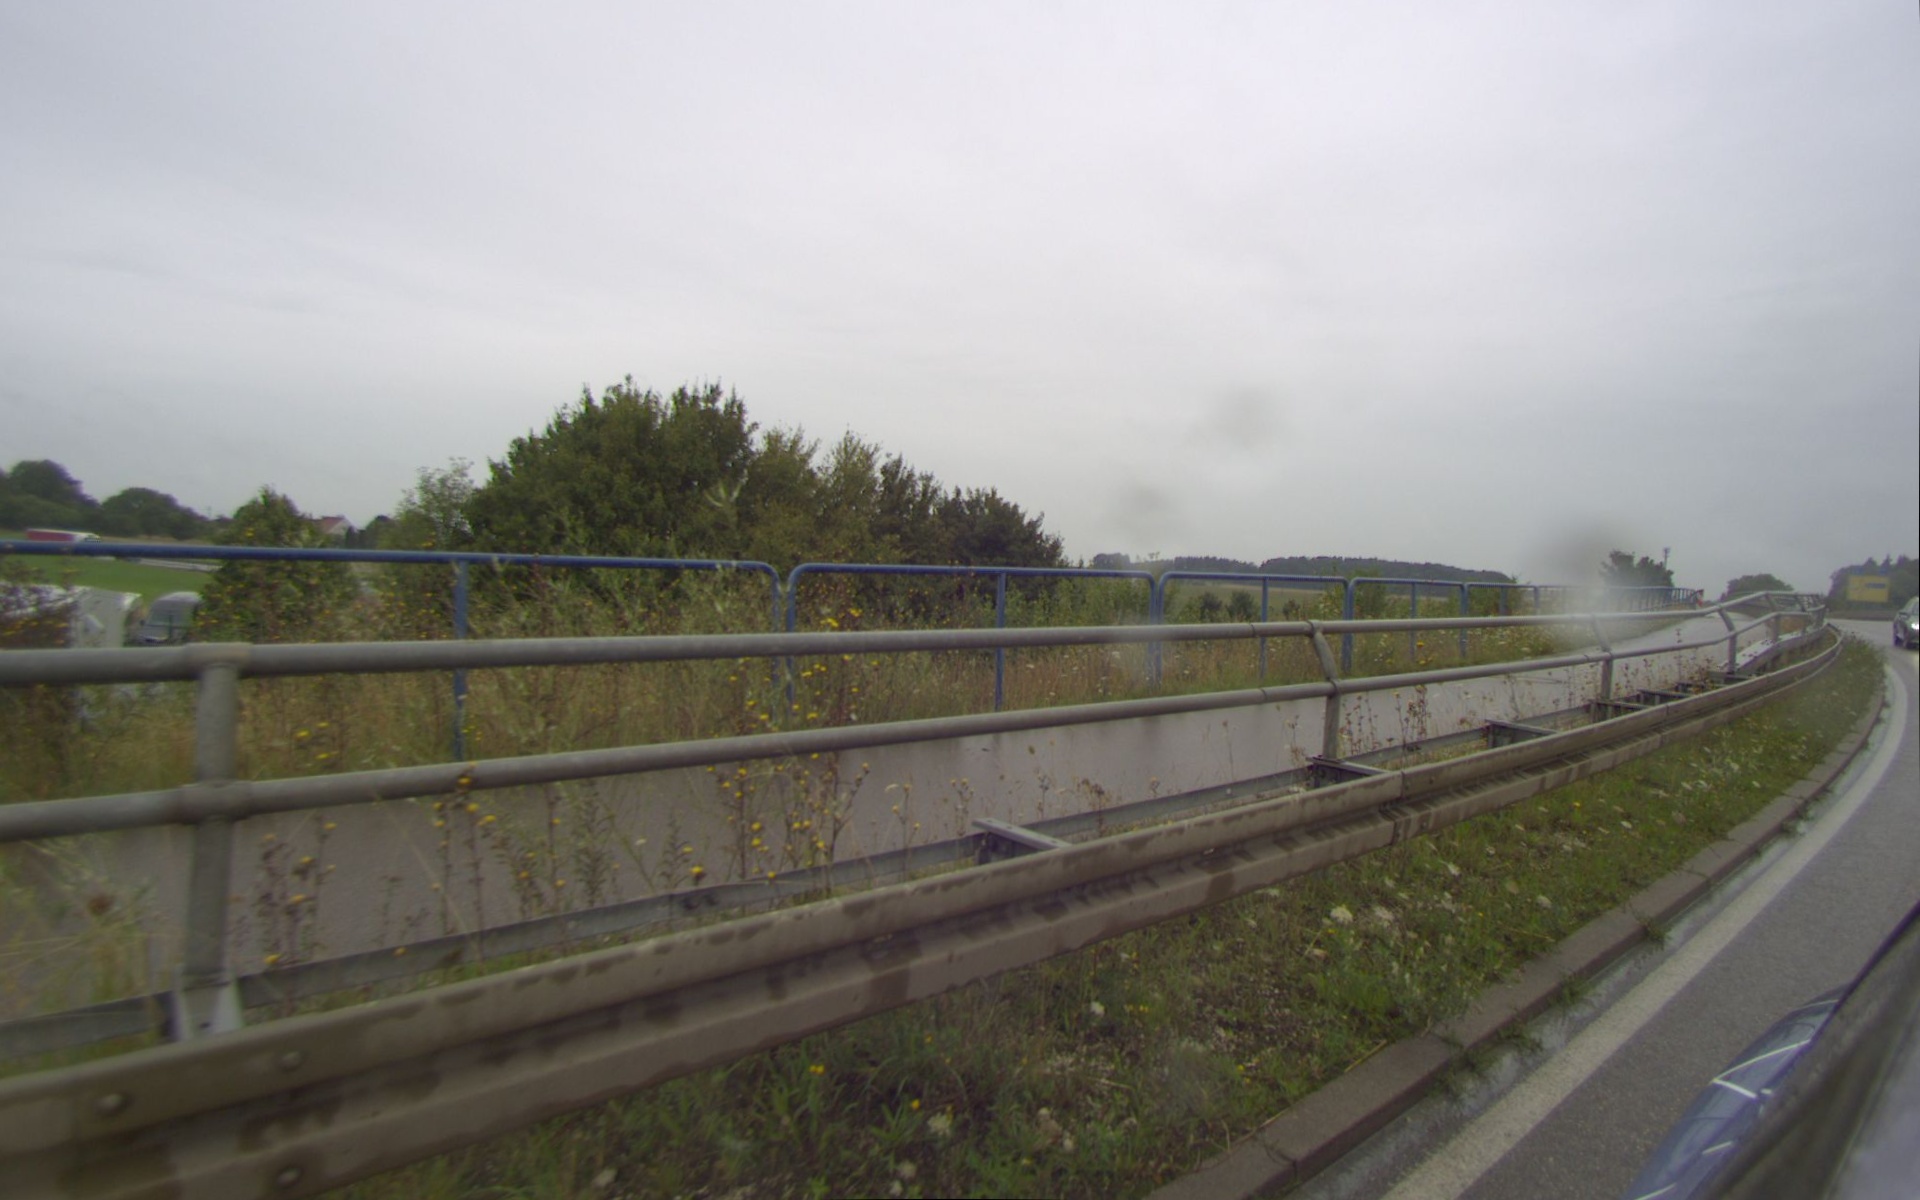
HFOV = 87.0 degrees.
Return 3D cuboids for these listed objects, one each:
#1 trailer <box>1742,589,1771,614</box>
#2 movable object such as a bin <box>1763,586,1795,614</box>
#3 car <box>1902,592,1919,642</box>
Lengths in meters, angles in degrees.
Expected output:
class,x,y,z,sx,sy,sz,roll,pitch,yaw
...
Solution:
class,x,y,z,sx,sy,sz,roll,pitch,yaw
trailer,133.340,0.252,169.550,2.810,4.019,13.561,4,2,35
movable object such as a bin,111.235,-0.031,137.536,2.739,3.487,4.587,4,2,33
car,28.368,0.484,28.784,1.809,1.408,4.016,1,1,36
